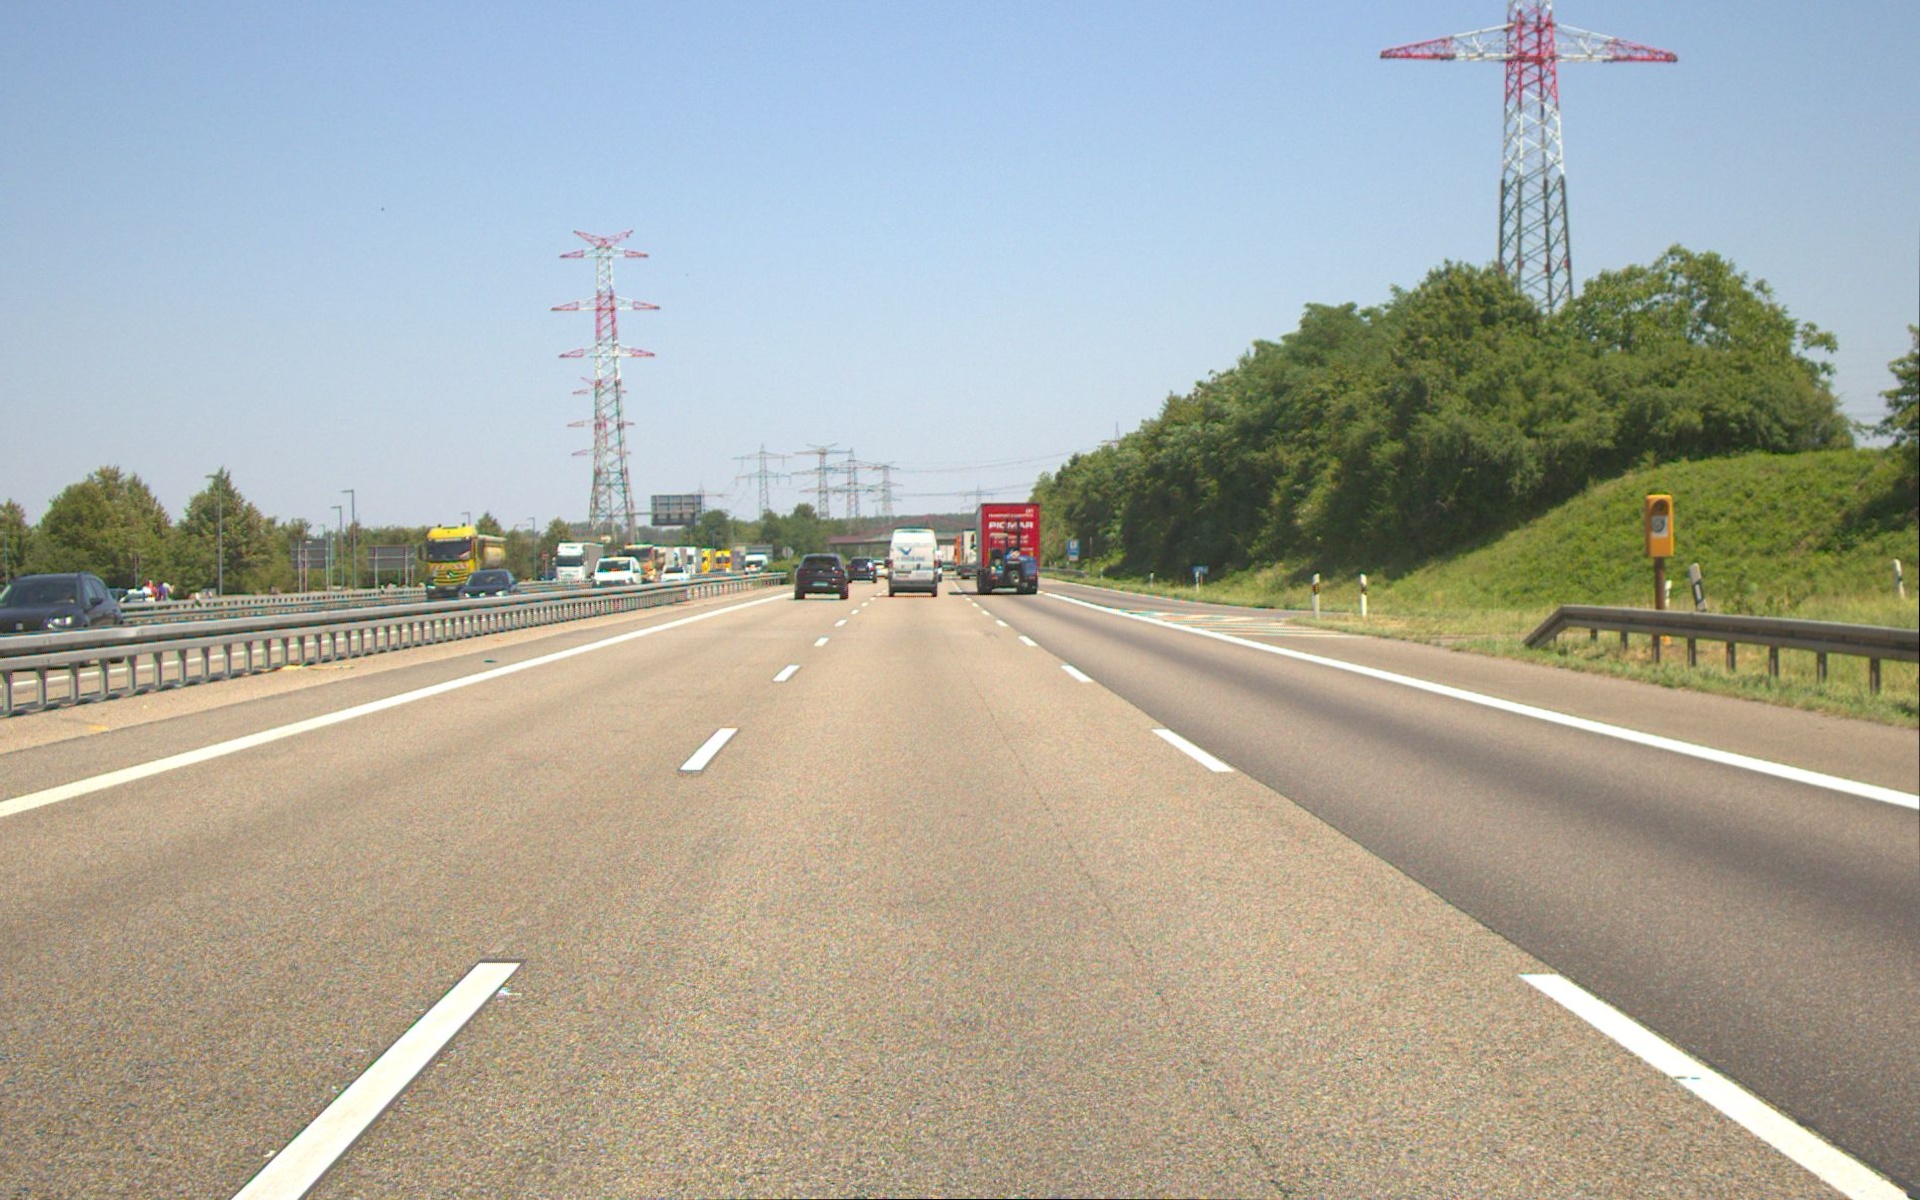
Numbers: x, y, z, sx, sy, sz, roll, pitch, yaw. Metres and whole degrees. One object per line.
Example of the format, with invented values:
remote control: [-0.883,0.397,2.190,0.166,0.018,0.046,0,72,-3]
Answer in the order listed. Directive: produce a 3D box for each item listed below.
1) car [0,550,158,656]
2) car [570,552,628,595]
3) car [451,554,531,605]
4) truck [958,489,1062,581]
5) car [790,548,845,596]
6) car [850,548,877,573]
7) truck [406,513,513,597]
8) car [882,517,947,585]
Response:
car: [-14.524,0.031,55.455,2.052,1.546,4.891,-3,1,-1]
car: [-16.129,-1.218,153.819,2.052,1.836,5.943,-1,1,-1]
car: [-15.573,-0.688,114.398,2.052,1.546,4.891,-3,1,-1]
truck: [2.152,-2.956,157.168,4.331,3.928,16.078,1,1,0]
car: [-5.375,-1.078,130.461,1.993,1.744,4.000,1,1,-1]
car: [-6.392,-2.610,227.551,1.747,1.628,4.004,1,1,-1]
truck: [-23.694,-2.147,163.503,3.171,3.797,13.531,-1,1,0]
car: [-1.926,-2.068,143.672,2.621,2.749,6.097,1,1,-1]
